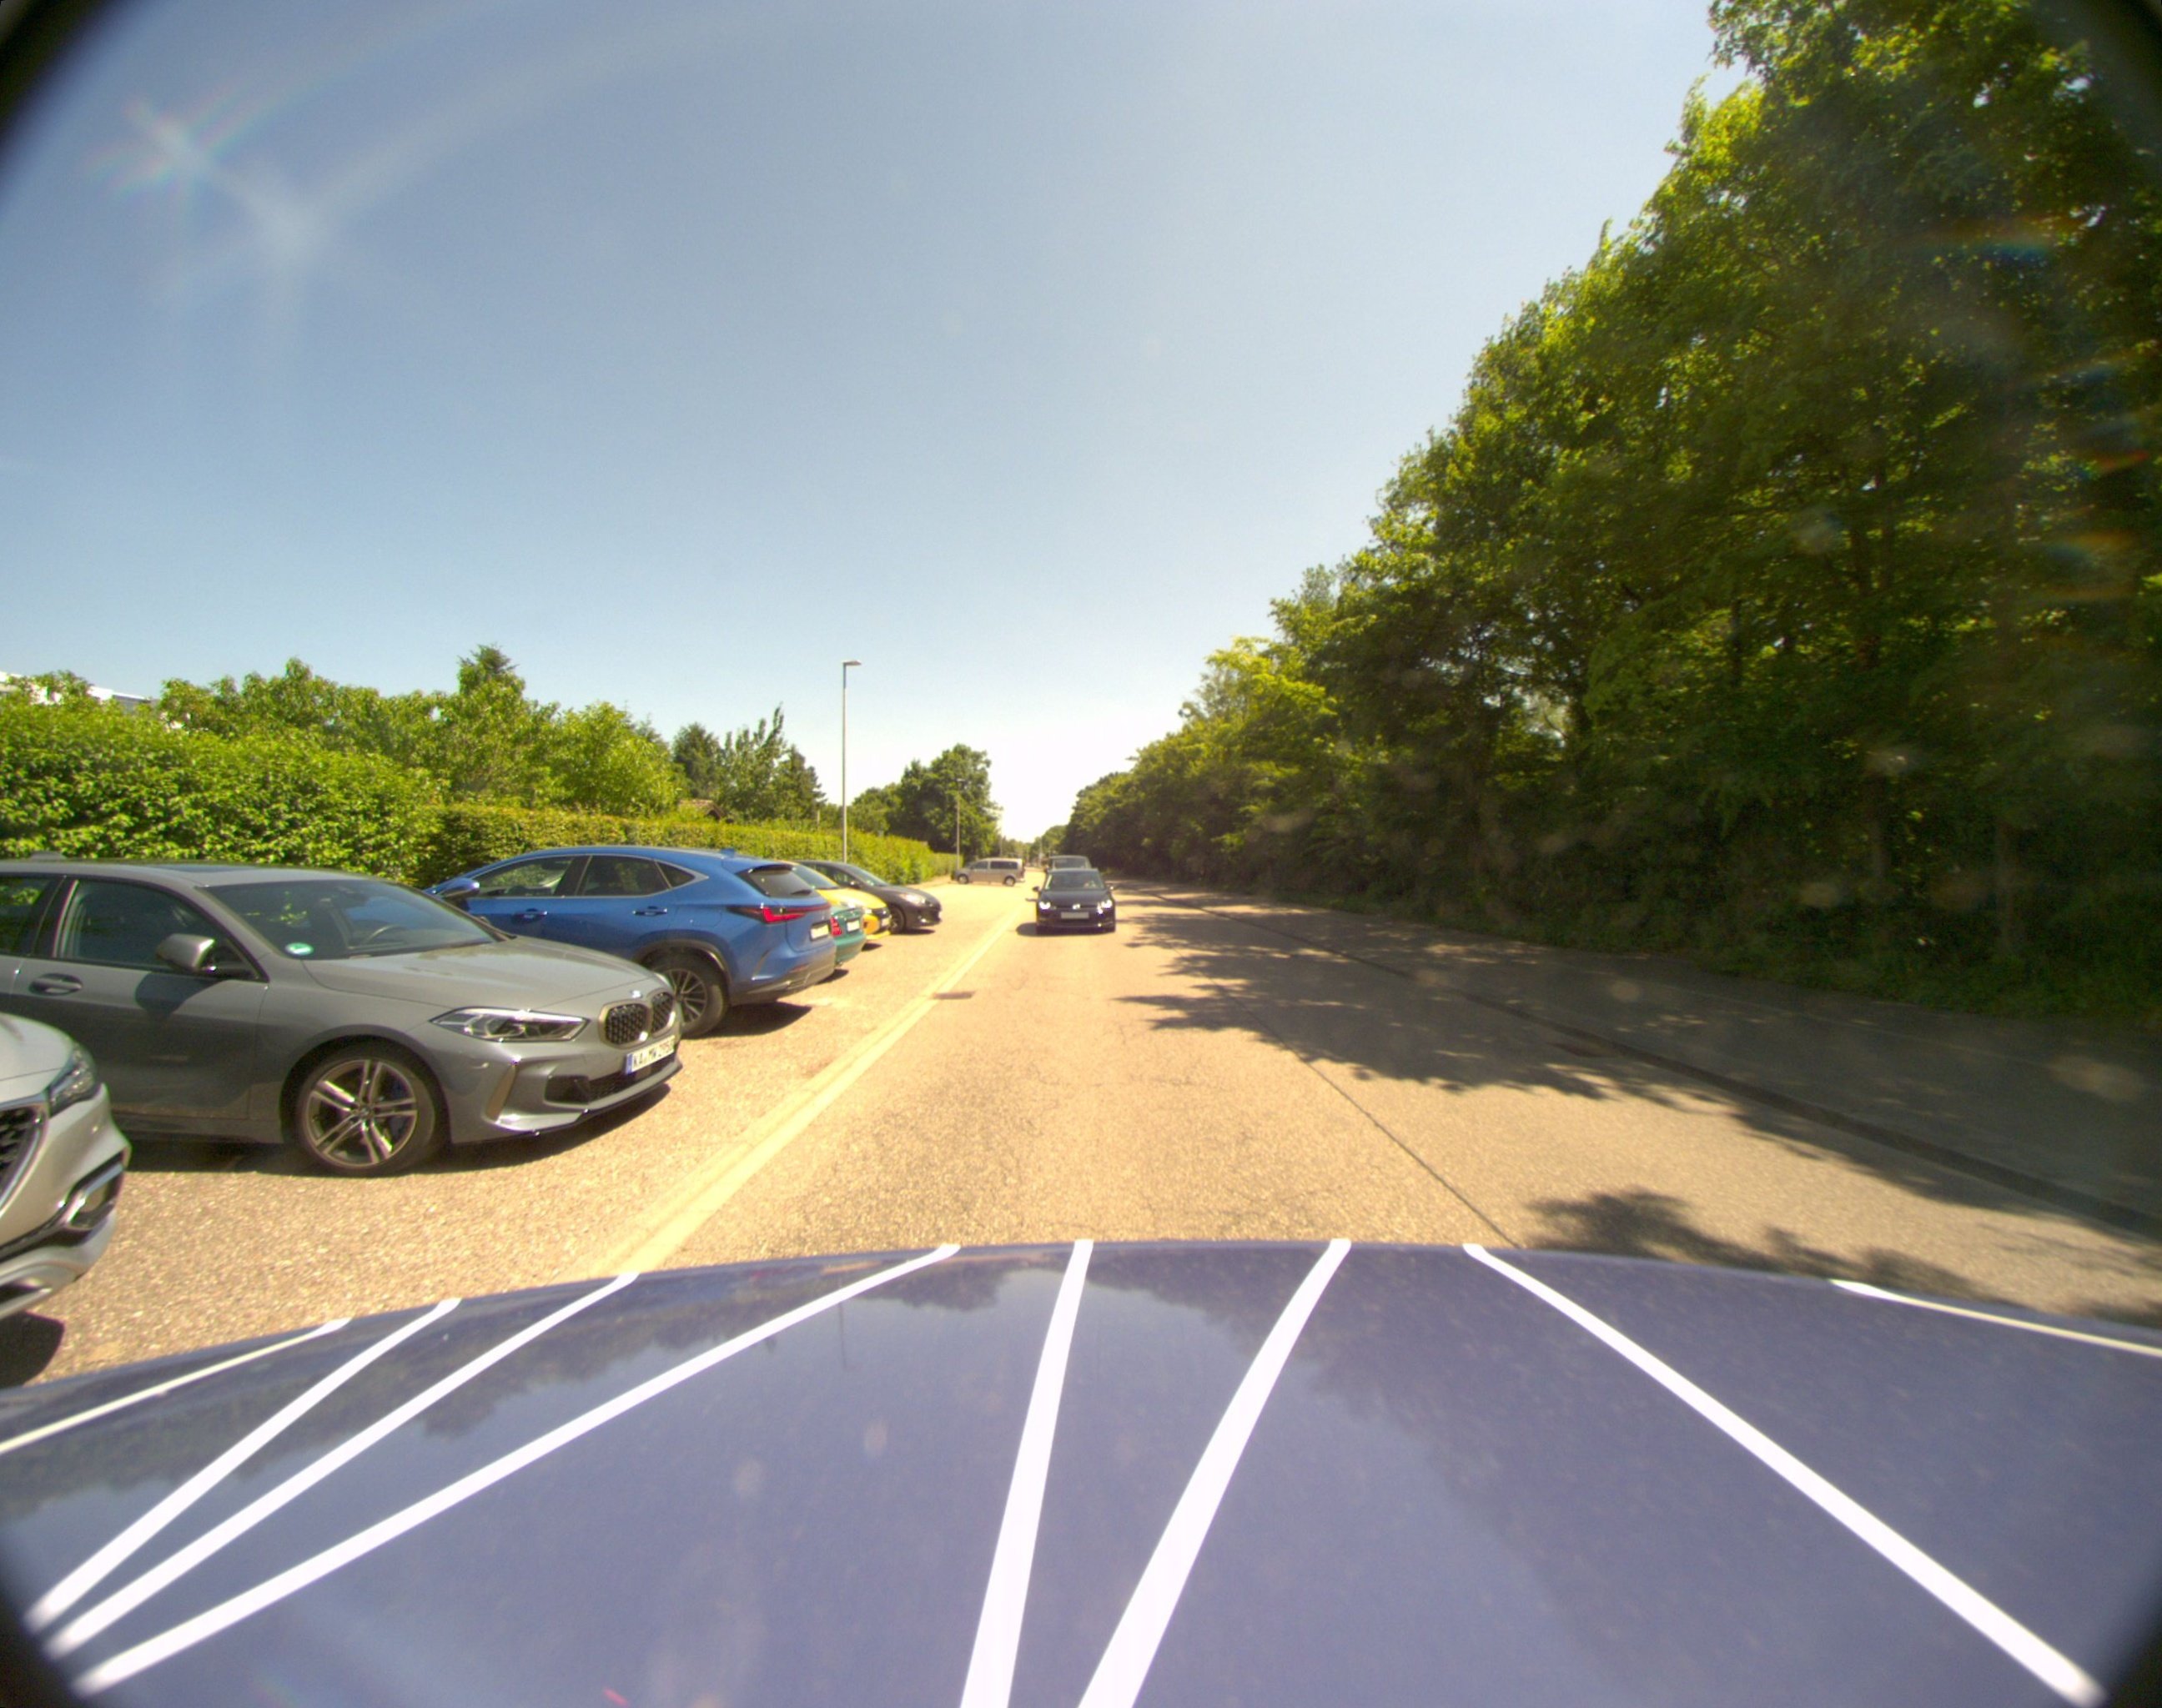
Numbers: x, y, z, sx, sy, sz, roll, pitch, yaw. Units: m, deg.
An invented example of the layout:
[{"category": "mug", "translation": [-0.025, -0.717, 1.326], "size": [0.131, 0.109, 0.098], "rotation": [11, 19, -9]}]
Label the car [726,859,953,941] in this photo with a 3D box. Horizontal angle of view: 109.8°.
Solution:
[{"category": "car", "translation": [-5.041, 0.936, 16.248], "size": [4.251, 1.410, 1.649], "rotation": [3, 0, 1]}]

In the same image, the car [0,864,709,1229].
[{"category": "car", "translation": [-4.550, 0.880, 4.254], "size": [4.036, 1.401, 1.680], "rotation": [3, 0, 0]}]

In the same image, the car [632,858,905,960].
[{"category": "car", "translation": [-5.343, 0.913, 13.341], "size": [4.036, 1.438, 1.649], "rotation": [3, 0, 1]}]

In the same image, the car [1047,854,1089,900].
[{"category": "car", "translation": [-0.533, 0.961, 33.766], "size": [1.743, 1.904, 4.388], "rotation": [0, 0, 0]}]

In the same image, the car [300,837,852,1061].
[{"category": "car", "translation": [-4.487, 0.795, 7.188], "size": [4.036, 1.632, 1.674], "rotation": [3, 0, 1]}]

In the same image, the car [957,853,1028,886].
[{"category": "car", "translation": [-5.759, 0.996, 49.837], "size": [4.493, 1.840, 1.695], "rotation": [3, 0, -3]}]

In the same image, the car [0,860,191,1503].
[{"category": "car", "translation": [-4.818, 0.744, 1.378], "size": [4.170, 1.632, 1.776], "rotation": [3, 0, -1]}]

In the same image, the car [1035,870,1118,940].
[{"category": "car", "translation": [-0.100, 1.131, 18.311], "size": [1.743, 1.396, 4.388], "rotation": [0, 0, 0]}]

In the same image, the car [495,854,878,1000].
[{"category": "car", "translation": [-4.917, 0.870, 9.848], "size": [4.036, 1.505, 1.649], "rotation": [3, 0, 1]}]
